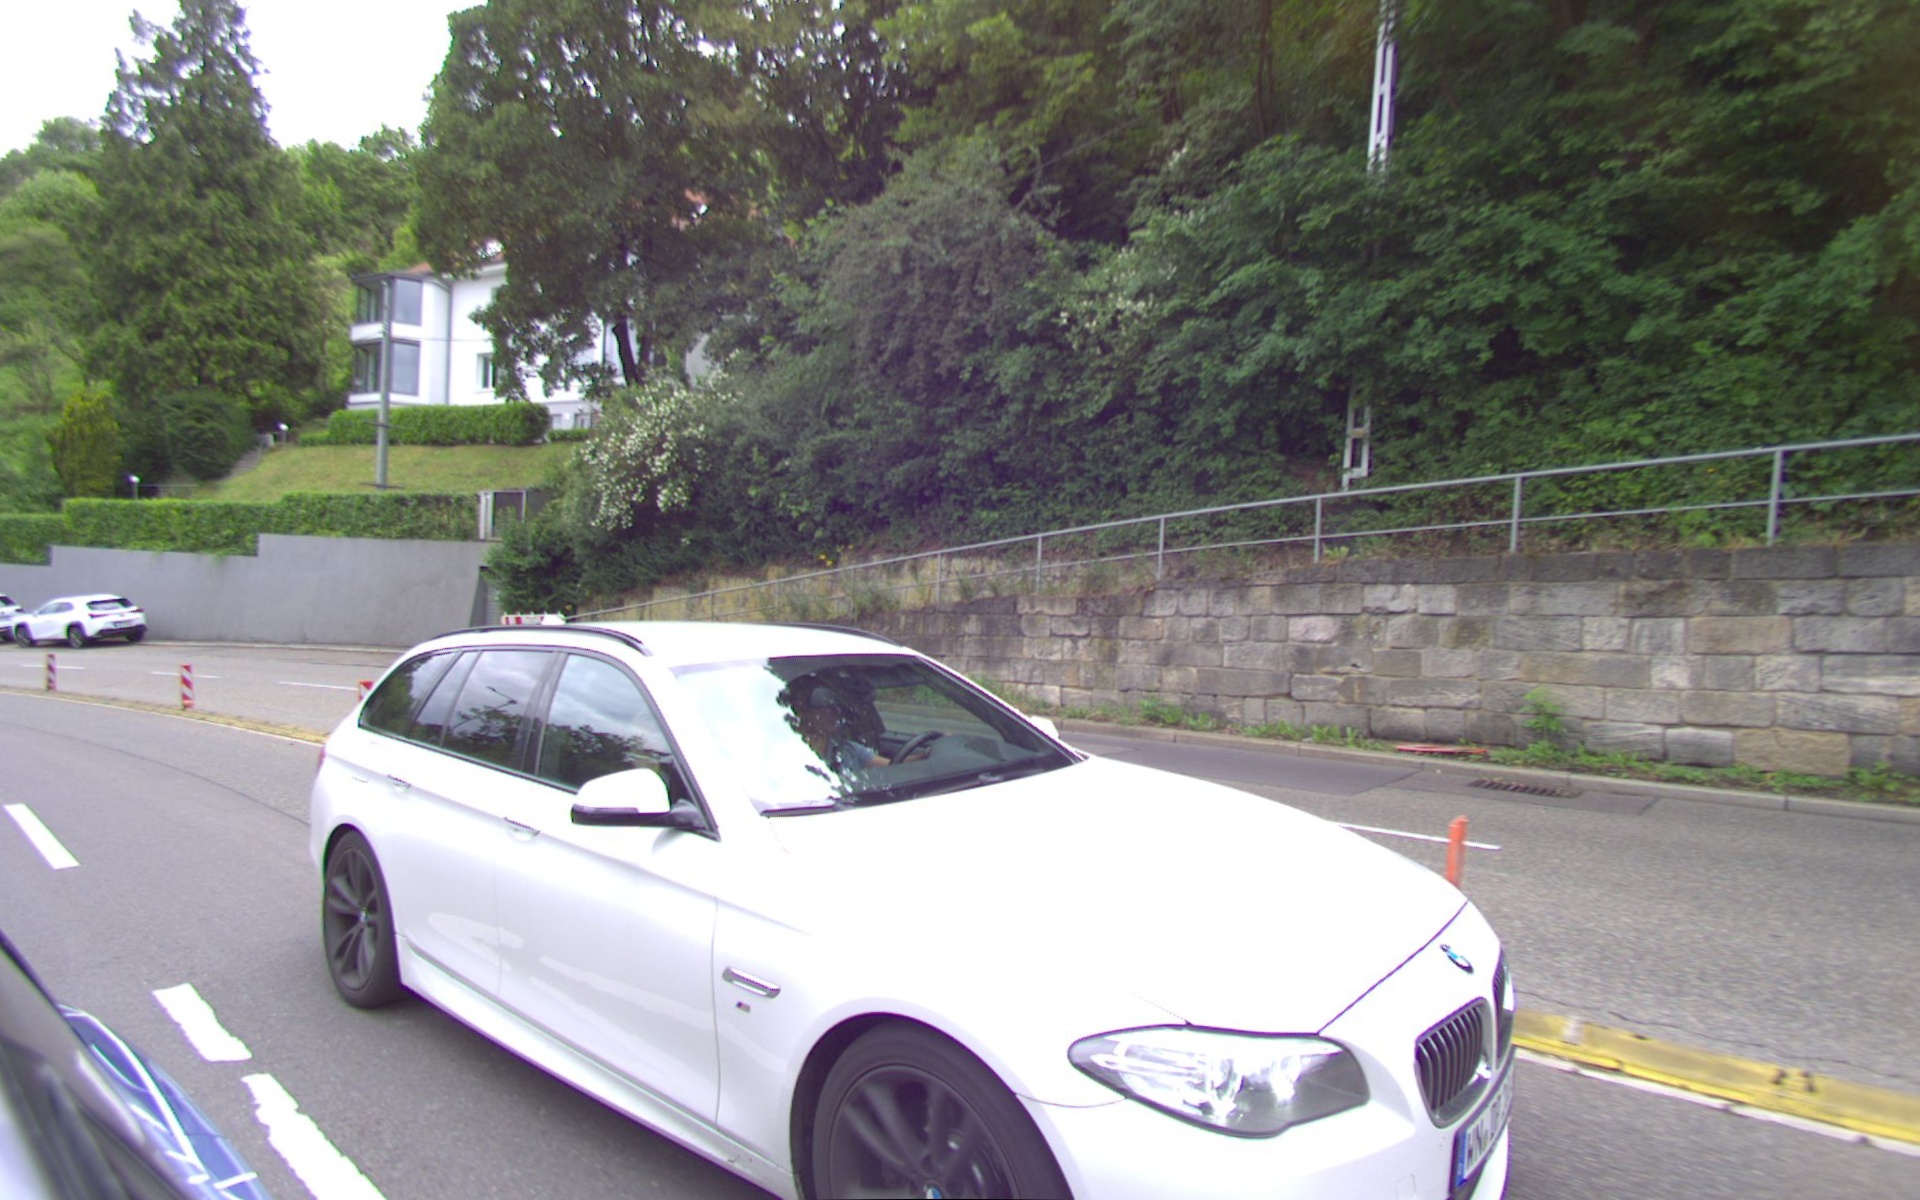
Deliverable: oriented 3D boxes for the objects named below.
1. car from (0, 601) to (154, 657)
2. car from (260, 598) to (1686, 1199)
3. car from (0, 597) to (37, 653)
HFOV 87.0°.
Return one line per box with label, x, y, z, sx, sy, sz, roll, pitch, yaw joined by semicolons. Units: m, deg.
car;-27.824;0.871;31.778;4.439;1.584;1.828;0;2;19
car;-0.560;0.800;3.500;4.875;1.477;1.829;1;3;40
car;-33.254;0.855;33.265;4.711;1.744;1.859;-1;3;12
